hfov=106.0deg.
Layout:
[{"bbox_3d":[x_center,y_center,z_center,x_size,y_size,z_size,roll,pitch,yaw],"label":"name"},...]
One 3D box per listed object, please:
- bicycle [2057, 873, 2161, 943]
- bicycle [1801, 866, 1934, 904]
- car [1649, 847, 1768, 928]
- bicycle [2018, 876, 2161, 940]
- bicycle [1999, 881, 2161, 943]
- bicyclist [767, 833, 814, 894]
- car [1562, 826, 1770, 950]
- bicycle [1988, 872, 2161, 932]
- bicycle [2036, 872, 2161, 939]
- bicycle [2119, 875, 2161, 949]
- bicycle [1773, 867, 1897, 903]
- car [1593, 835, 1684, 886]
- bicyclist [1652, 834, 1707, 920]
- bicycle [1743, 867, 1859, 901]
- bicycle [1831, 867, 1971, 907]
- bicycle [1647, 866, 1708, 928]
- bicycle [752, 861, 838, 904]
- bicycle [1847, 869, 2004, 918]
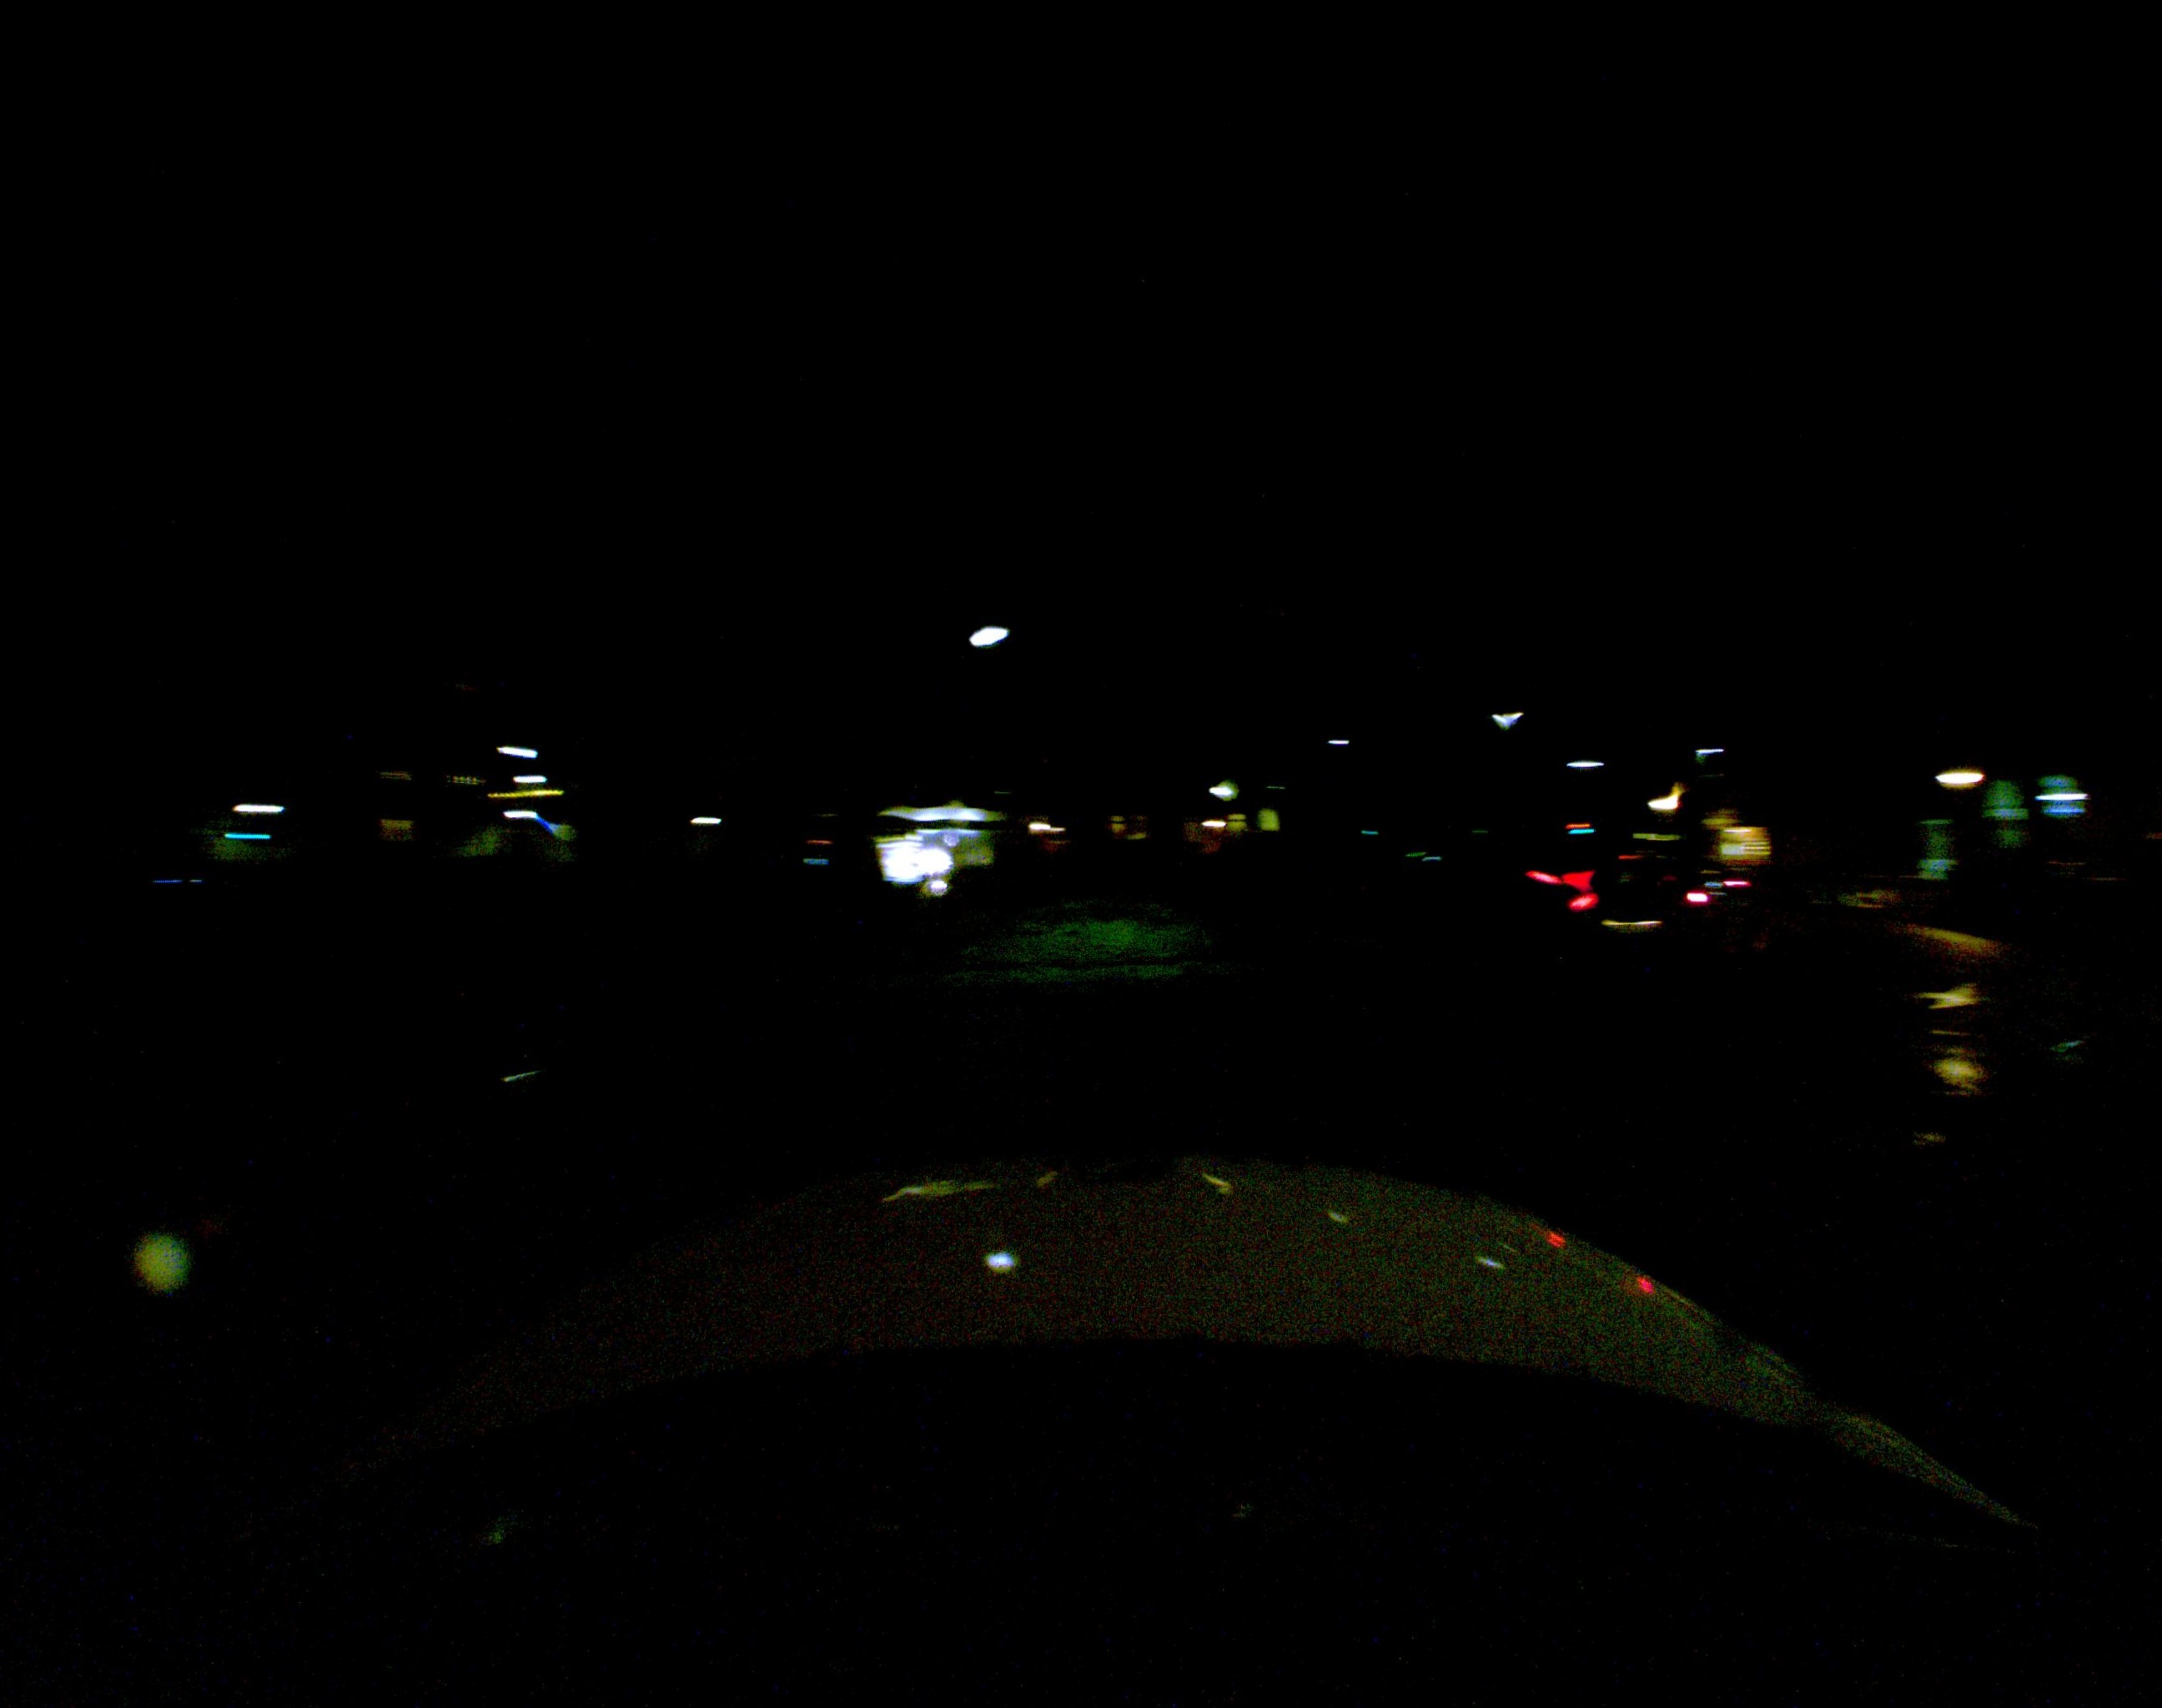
[{"bbox_3d":[17.066,0.860,12.960,1.912,1.059,0.453,0,0,40],"label":"bicycle"},{"bbox_3d":[22.718,0.870,23.599,2.745,1.026,0.728,0,0,17],"label":"bicycle"},{"bbox_3d":[15.253,0.794,20.009,1.974,1.728,4.025,2,-1,33],"label":"car"},{"bbox_3d":[18.229,0.923,13.980,2.741,1.026,0.729,0,0,41],"label":"bicycle"},{"bbox_3d":[18.992,1.057,14.963,2.741,1.026,0.729,0,0,41],"label":"bicycle"},{"bbox_3d":[-6.799,0.227,19.068,0.898,1.380,0.499,3,-1,-34],"label":"bicyclist"},{"bbox_3d":[8.957,0.497,12.379,3.478,1.613,1.716,3,-1,-40],"label":"car"},{"bbox_3d":[19.529,0.904,15.646,2.741,1.026,0.729,0,0,41],"label":"bicycle"},{"bbox_3d":[17.464,0.849,13.596,1.912,1.059,0.453,0,0,40],"label":"bicycle"},{"bbox_3d":[16.323,0.855,11.684,0.453,1.059,1.714,0,0,-45],"label":"bicycle"},{"bbox_3d":[22.990,0.928,24.883,2.745,1.026,0.728,0,0,17],"label":"bicycle"},{"bbox_3d":[21.066,0.268,30.942,1.976,1.728,4.020,2,-1,22],"label":"car"},{"bbox_3d":[12.039,0.456,16.372,0.789,1.675,0.712,1,-1,43],"label":"bicyclist"},{"bbox_3d":[23.061,0.960,26.157,2.745,1.026,0.728,0,0,17],"label":"bicycle"},{"bbox_3d":[22.322,0.894,22.232,2.748,1.026,0.728,0,0,12],"label":"bicycle"},{"bbox_3d":[11.958,0.838,16.302,0.767,1.149,1.726,1,-1,43],"label":"bicycle"},{"bbox_3d":[-6.644,0.670,18.948,1.791,0.931,0.494,3,-1,-35],"label":"bicycle"},{"bbox_3d":[21.569,0.972,20.911,2.741,1.129,0.729,0,0,41],"label":"bicycle"}]
